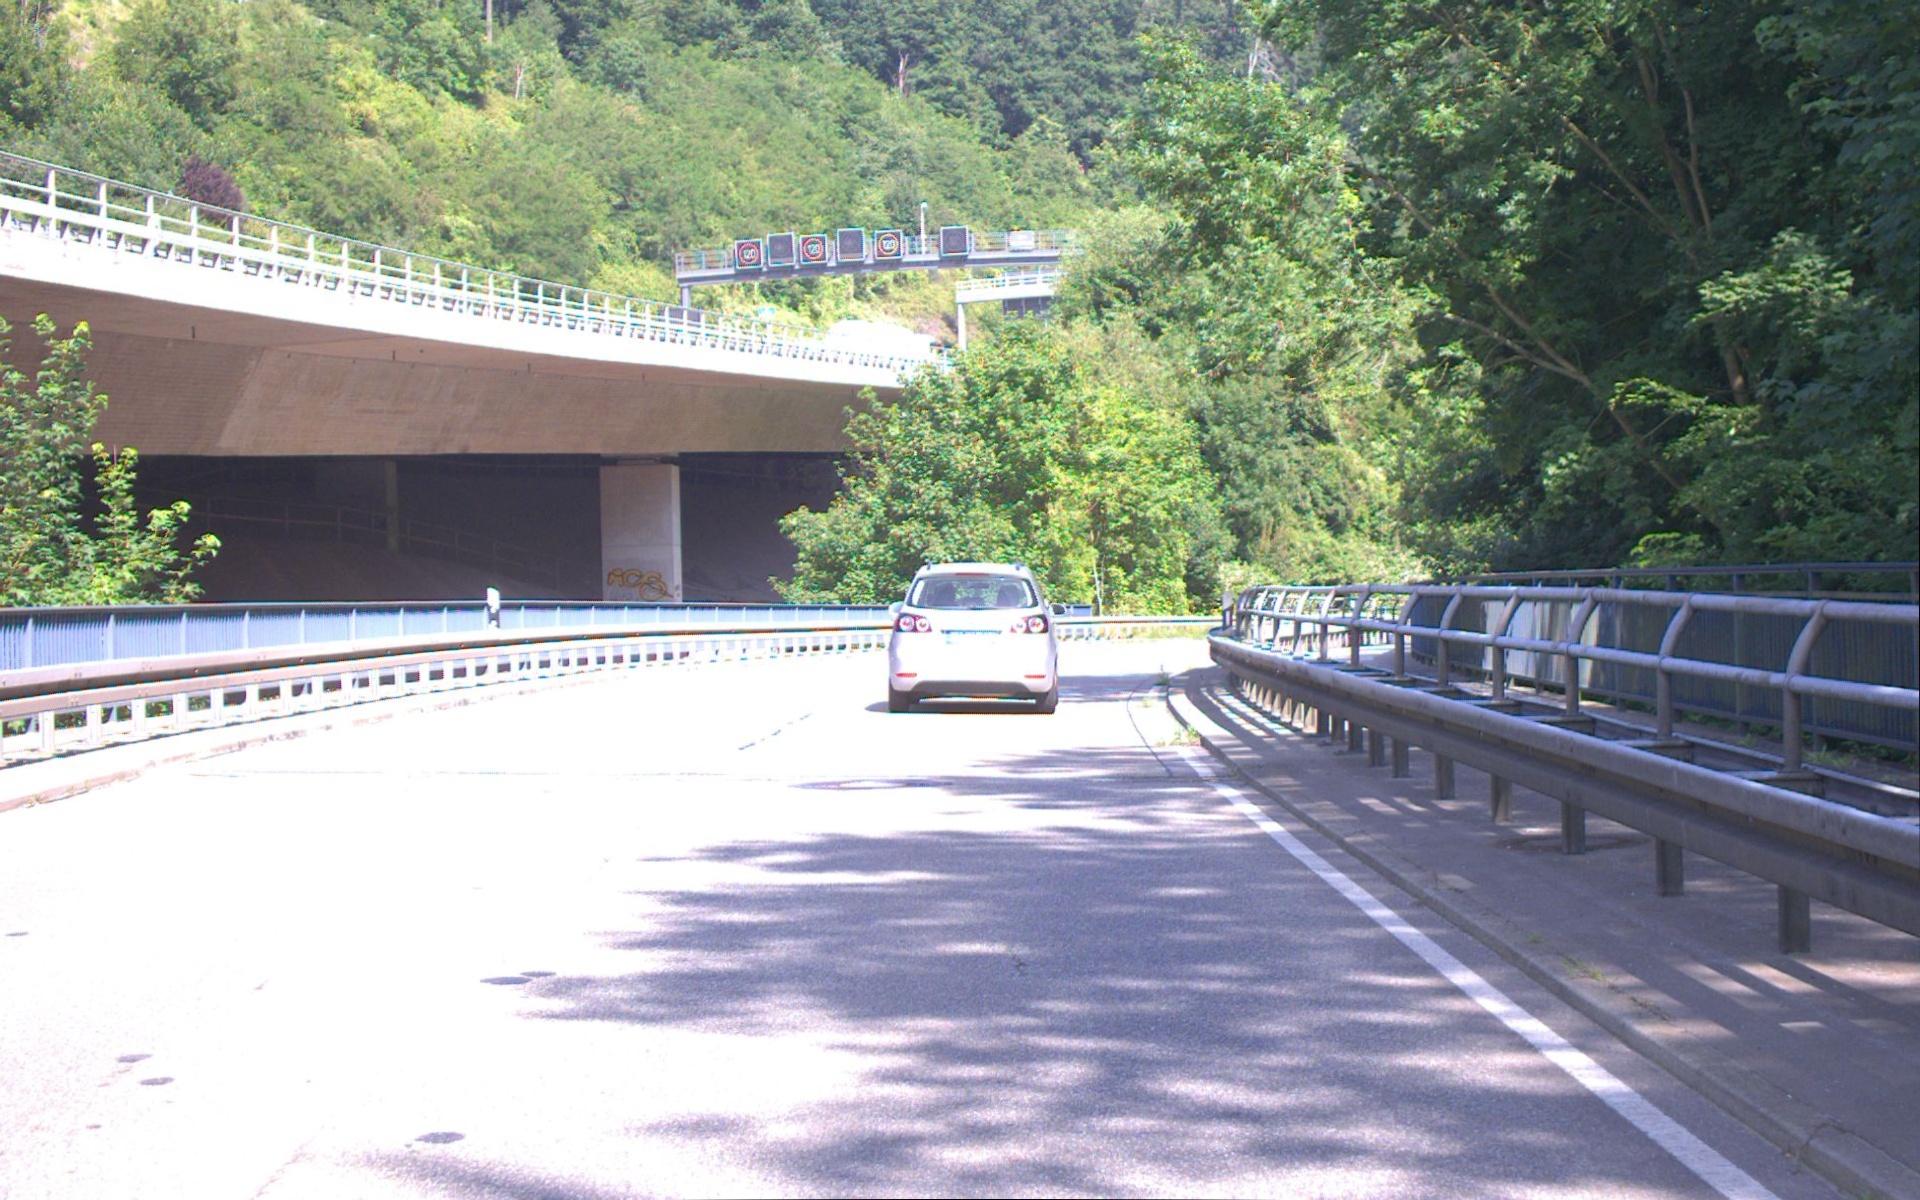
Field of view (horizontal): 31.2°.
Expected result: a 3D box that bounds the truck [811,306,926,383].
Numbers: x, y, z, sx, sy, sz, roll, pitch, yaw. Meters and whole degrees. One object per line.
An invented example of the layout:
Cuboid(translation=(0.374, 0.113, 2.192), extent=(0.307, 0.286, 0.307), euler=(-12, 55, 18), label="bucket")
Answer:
Cuboid(translation=(-4.425, -12.541, 169.490), extent=(3.372, 3.343, 10.171), euler=(1, 2, 12), label="truck")

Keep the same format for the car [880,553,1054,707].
Cuboid(translation=(0.116, 0.275, 36.690), extent=(1.751, 1.514, 4.159), euler=(0, 1, 1), label="car")
